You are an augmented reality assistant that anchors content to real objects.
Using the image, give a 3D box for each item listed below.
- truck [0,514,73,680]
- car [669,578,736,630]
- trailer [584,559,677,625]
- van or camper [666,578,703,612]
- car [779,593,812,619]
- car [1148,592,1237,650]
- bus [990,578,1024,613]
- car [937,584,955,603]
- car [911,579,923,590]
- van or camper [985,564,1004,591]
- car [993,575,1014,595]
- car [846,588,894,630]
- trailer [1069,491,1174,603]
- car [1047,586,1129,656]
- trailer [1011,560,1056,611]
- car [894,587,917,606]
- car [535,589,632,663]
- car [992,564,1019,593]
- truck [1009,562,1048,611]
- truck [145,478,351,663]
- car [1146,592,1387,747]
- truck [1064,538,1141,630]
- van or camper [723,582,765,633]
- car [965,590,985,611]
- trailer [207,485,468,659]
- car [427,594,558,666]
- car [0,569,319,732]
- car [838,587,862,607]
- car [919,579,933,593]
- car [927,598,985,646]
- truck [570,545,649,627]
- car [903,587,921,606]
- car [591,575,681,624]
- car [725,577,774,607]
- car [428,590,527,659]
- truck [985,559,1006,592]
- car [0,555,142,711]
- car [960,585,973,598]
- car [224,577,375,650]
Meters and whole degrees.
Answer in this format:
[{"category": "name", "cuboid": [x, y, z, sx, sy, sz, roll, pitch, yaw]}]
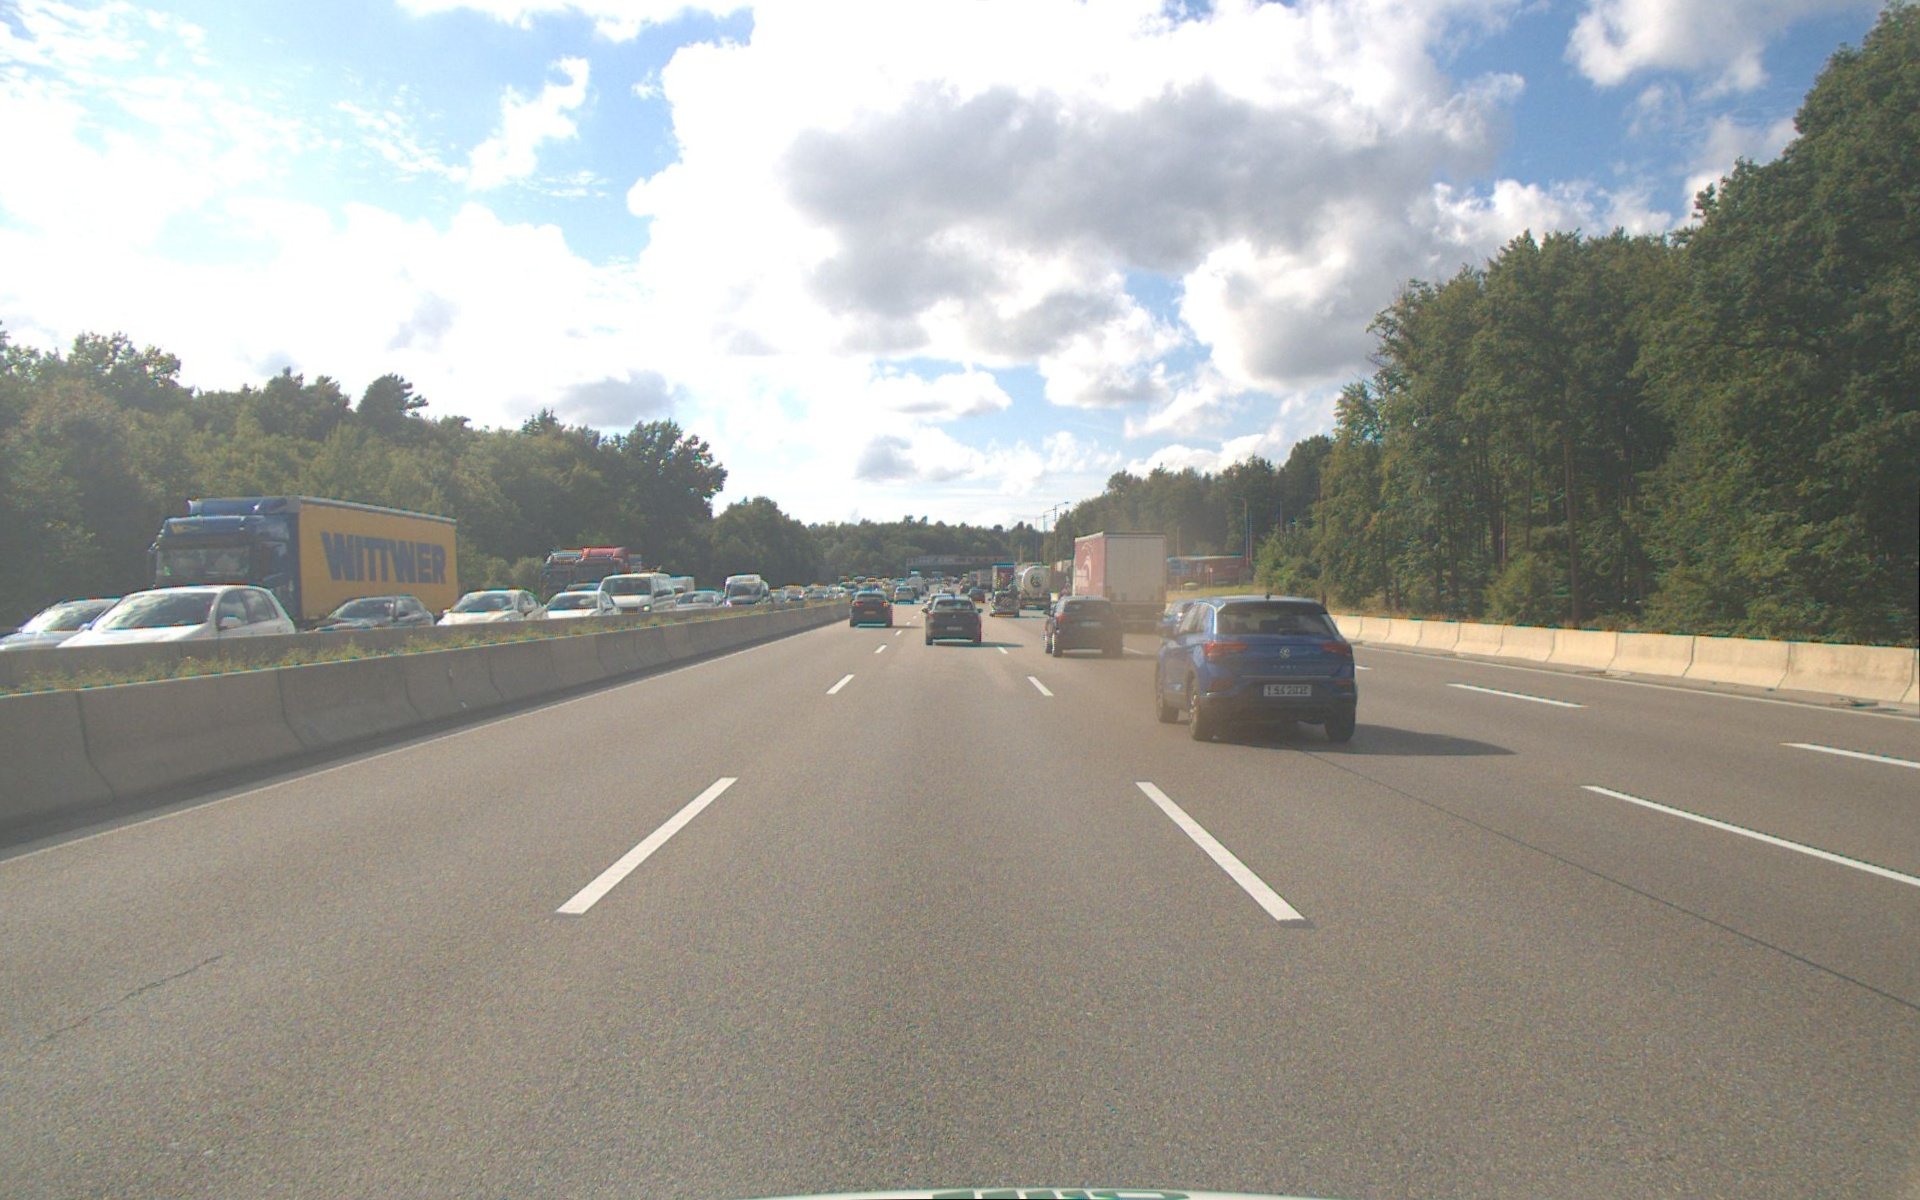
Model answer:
[{"category": "truck", "cuboid": [-17.656, -0.077, 26.839, 2.281, 2.850, 7.947, 2, 0, -1]}, {"category": "car", "cuboid": [-8.629, 0.120, 55.727, 1.688, 1.631, 3.999, 1, 0, -2]}, {"category": "trailer", "cuboid": [-18.138, -0.491, 92.115, 2.673, 3.393, 14.216, 1, 1, -2]}, {"category": "van or camper", "cuboid": [-26.159, -0.482, 157.436, 2.520, 3.131, 7.193, 0, 0, -2]}, {"category": "car", "cuboid": [-10.570, 0.395, 106.422, 1.799, 1.619, 4.288, 1, 0, -2]}, {"category": "car", "cuboid": [6.469, 0.567, 46.461, 1.681, 1.538, 4.299, -1, 0, -3]}, {"category": "bus", "cuboid": [2.914, -0.272, 102.700, 1.953, 2.049, 3.999, 1, -1, 0]}, {"category": "car", "cuboid": [-1.593, -0.680, 187.667, 1.953, 2.049, 3.999, -1, -1, -1]}, {"category": "car", "cuboid": [-6.053, -2.121, 232.212, 1.590, 1.496, 3.814, 1, 0, 0]}, {"category": "van or camper", "cuboid": [4.325, -2.798, 206.943, 2.303, 3.199, 5.710, 1, -1, 1]}, {"category": "car", "cuboid": [4.544, -1.557, 173.099, 1.953, 2.049, 3.999, 1, -1, -1]}, {"category": "car", "cuboid": [-4.039, 0.390, 74.480, 1.953, 1.807, 4.000, 0, 0, 0]}, {"category": "trailer", "cuboid": [6.789, -2.069, 71.738, 2.976, 4.106, 13.886, 1, -1, -1]}, {"category": "car", "cuboid": [3.230, 0.515, 42.425, 1.762, 1.673, 3.999, 1, 0, 0]}, {"category": "trailer", "cuboid": [6.045, -1.122, 138.055, 2.974, 4.086, 12.242, 0, -1, -1]}, {"category": "car", "cuboid": [-5.329, -0.312, 161.330, 2.110, 1.807, 3.999, 1, 0, 0]}, {"category": "car", "cuboid": [-9.892, 0.686, 43.696, 1.652, 1.848, 4.294, 1, -1, -2]}, {"category": "car", "cuboid": [5.035, -2.327, 183.043, 2.807, 3.044, 5.149, 1, -1, 1]}, {"category": "truck", "cuboid": [5.959, -1.132, 144.879, 2.983, 4.233, 7.125, 0, 0, -1]}, {"category": "truck", "cuboid": [-17.406, -0.617, 40.847, 2.680, 4.221, 5.615, 1, -1, -2]}, {"category": "car", "cuboid": [3.406, 0.784, 19.279, 1.885, 1.568, 4.643, 1, -2, -1]}, {"category": "truck", "cuboid": [6.679, -0.662, 78.258, 3.017, 4.135, 6.068, 1, -1, -1]}, {"category": "van or camper", "cuboid": [-14.327, 0.445, 110.197, 2.095, 3.228, 6.243, 1, 0, -2]}, {"category": "car", "cuboid": [1.565, 0.076, 170.544, 1.953, 2.049, 3.999, 1, 0, -1]}, {"category": "trailer", "cuboid": [-17.610, -0.581, 48.265, 2.715, 4.309, 13.654, 1, -1, -1]}, {"category": "car", "cuboid": [-9.939, 0.593, 35.468, 1.721, 1.401, 3.999, 2, 0, -2]}, {"category": "car", "cuboid": [-9.864, 0.564, 20.787, 1.953, 1.773, 4.294, 2, 0, -1]}, {"category": "car", "cuboid": [-10.084, -0.277, 151.906, 1.953, 1.766, 5.090, 2, 0, -1]}, {"category": "car", "cuboid": [-5.114, -2.114, 247.186, 1.953, 2.049, 3.999, 1, 0, -1]}, {"category": "car", "cuboid": [-0.126, 0.664, 51.438, 1.698, 1.389, 3.999, 1, 0, 0]}, {"category": "truck", "cuboid": [-17.949, -0.701, 85.034, 2.720, 4.007, 6.851, 1, 0, -2]}, {"category": "car", "cuboid": [-5.518, -0.427, 191.927, 1.953, 2.049, 3.999, 2, 0, -1]}, {"category": "car", "cuboid": [-9.846, 0.012, 50.648, 1.812, 1.378, 5.486, 1, -1, -2]}, {"category": "car", "cuboid": [-10.292, -0.398, 81.299, 1.778, 1.372, 6.231, 1, 0, -2]}, {"category": "car", "cuboid": [-13.735, 0.701, 47.300, 1.652, 1.848, 4.294, 1, -1, -2]}, {"category": "truck", "cuboid": [4.261, -2.877, 200.766, 2.309, 3.635, 11.266, 1, -1, 1]}, {"category": "car", "cuboid": [-13.570, 0.449, 23.179, 1.953, 2.049, 4.655, 1, -1, -2]}, {"category": "car", "cuboid": [0.977, -1.311, 253.345, 1.953, 2.049, 3.999, 1, 0, -1]}, {"category": "car", "cuboid": [-13.811, 0.307, 34.826, 1.698, 1.426, 3.835, 1, -1, -2]}]
